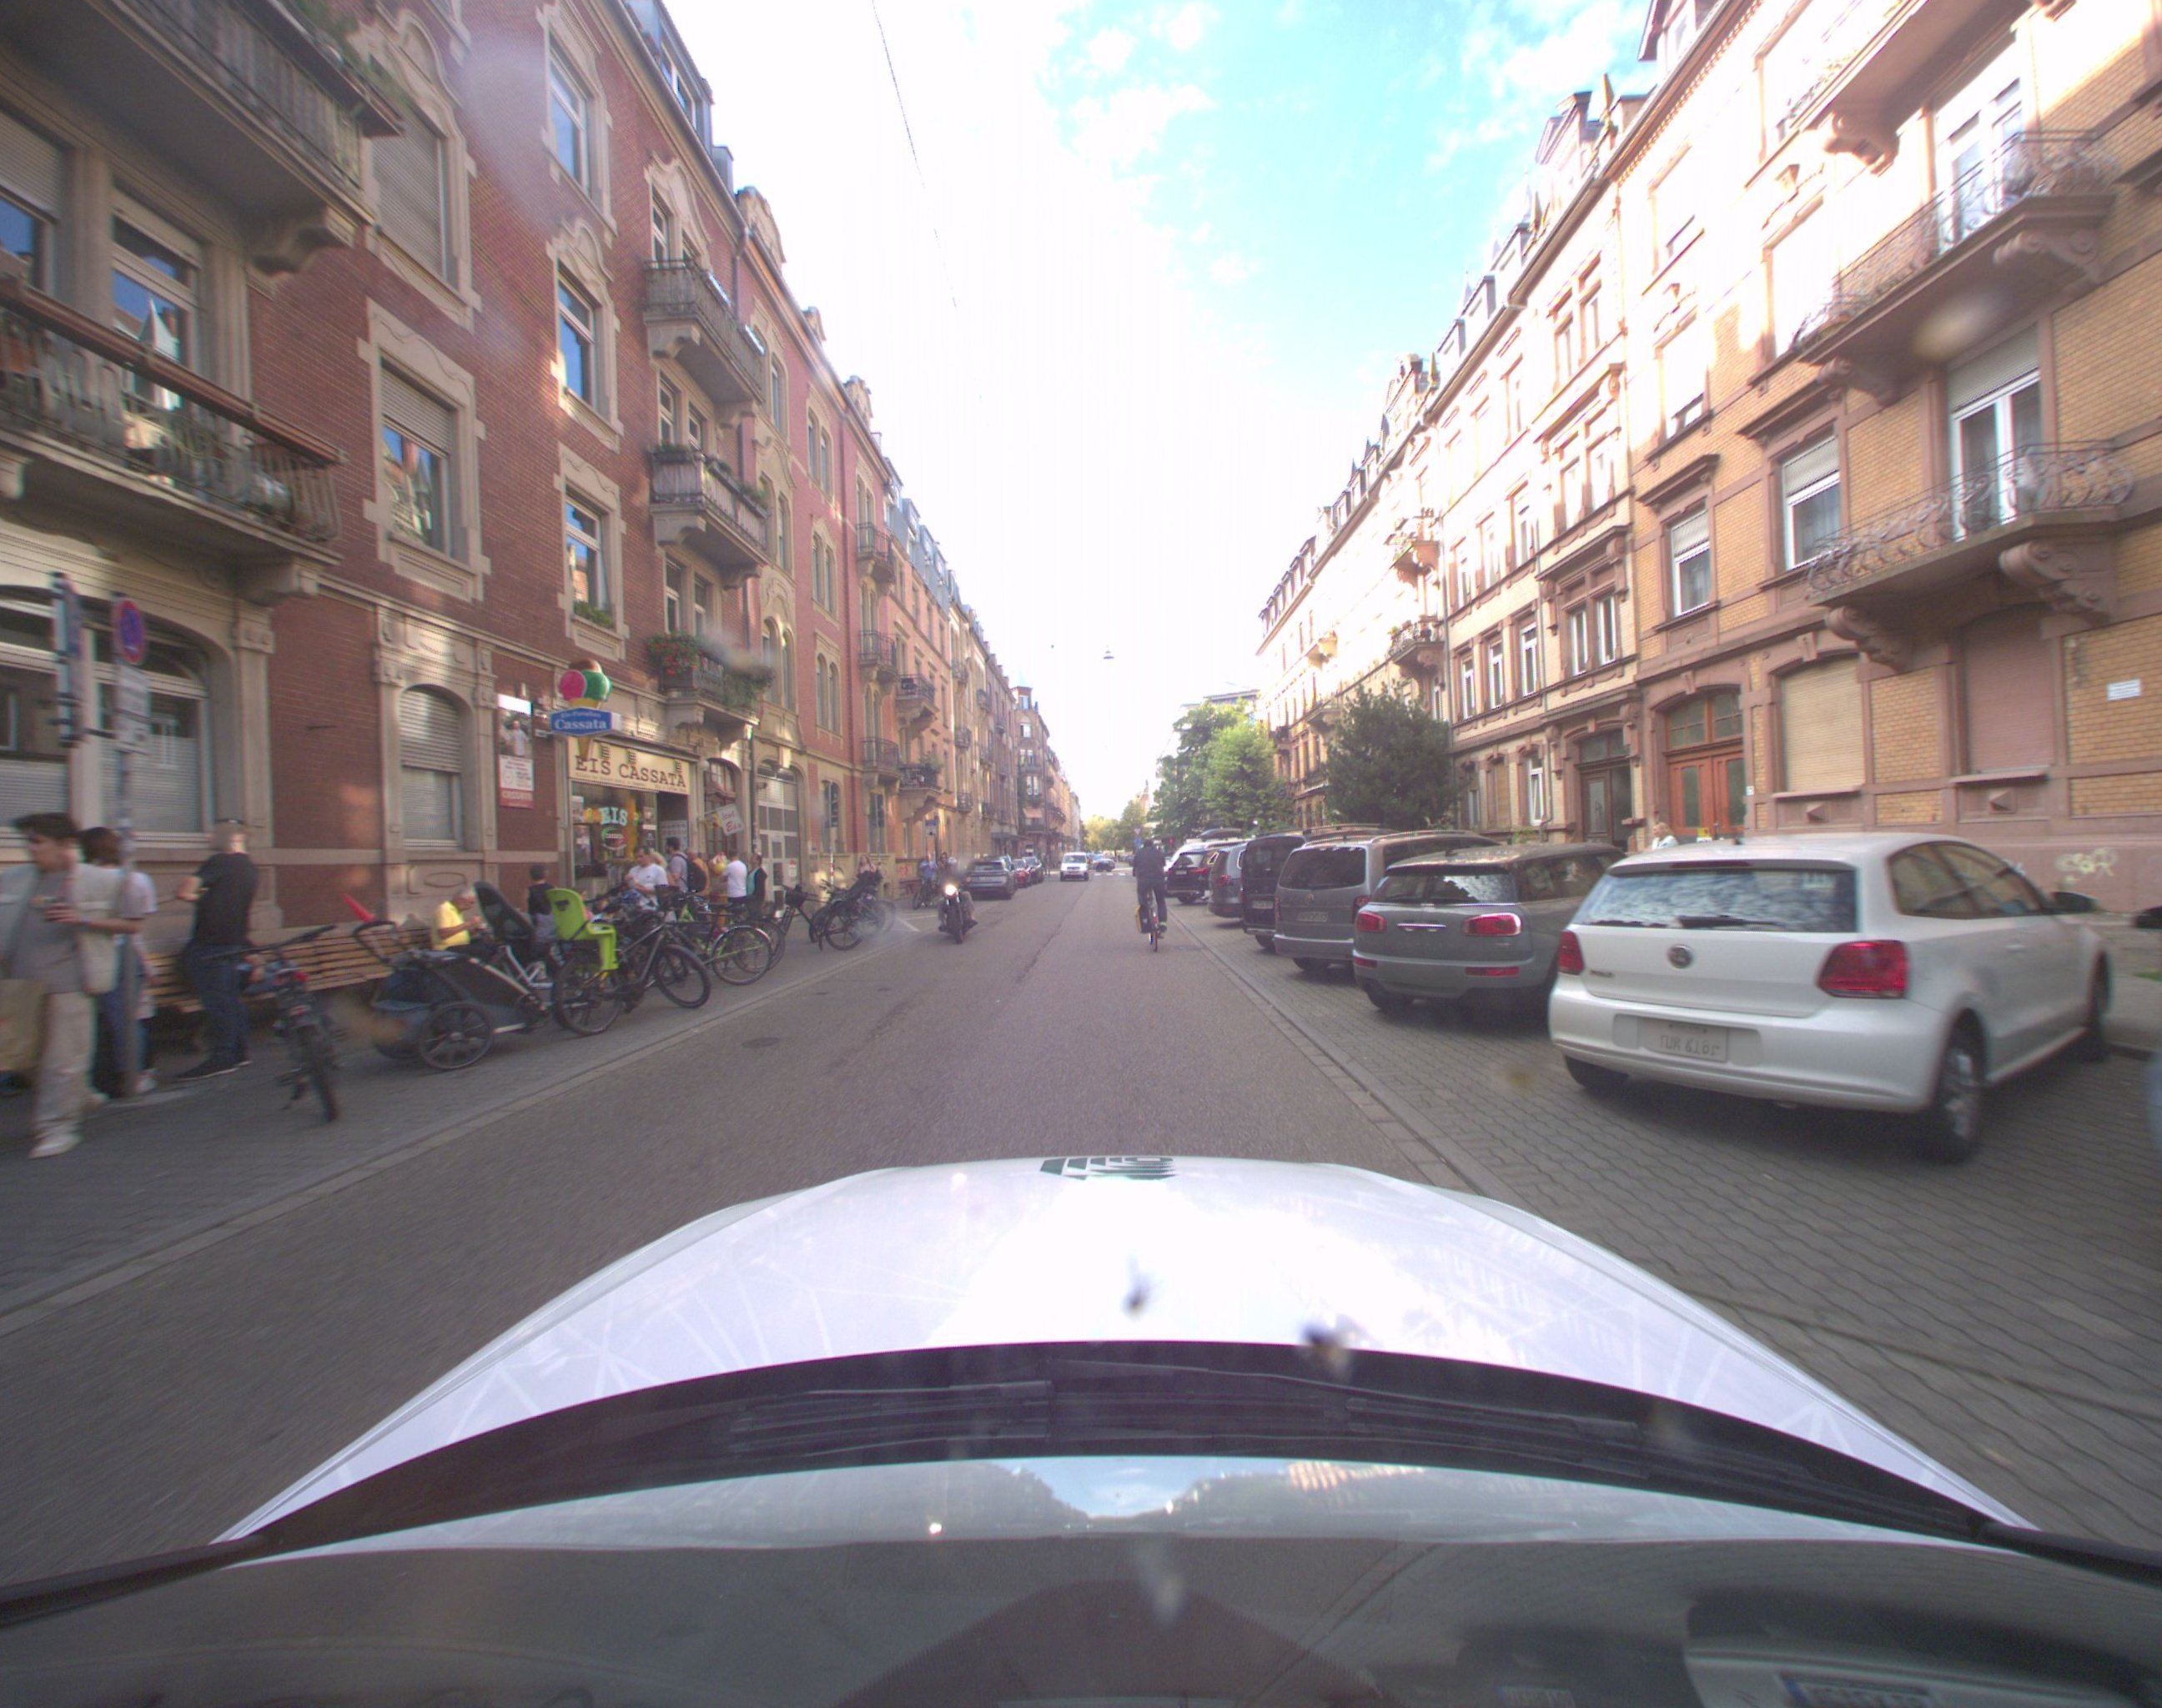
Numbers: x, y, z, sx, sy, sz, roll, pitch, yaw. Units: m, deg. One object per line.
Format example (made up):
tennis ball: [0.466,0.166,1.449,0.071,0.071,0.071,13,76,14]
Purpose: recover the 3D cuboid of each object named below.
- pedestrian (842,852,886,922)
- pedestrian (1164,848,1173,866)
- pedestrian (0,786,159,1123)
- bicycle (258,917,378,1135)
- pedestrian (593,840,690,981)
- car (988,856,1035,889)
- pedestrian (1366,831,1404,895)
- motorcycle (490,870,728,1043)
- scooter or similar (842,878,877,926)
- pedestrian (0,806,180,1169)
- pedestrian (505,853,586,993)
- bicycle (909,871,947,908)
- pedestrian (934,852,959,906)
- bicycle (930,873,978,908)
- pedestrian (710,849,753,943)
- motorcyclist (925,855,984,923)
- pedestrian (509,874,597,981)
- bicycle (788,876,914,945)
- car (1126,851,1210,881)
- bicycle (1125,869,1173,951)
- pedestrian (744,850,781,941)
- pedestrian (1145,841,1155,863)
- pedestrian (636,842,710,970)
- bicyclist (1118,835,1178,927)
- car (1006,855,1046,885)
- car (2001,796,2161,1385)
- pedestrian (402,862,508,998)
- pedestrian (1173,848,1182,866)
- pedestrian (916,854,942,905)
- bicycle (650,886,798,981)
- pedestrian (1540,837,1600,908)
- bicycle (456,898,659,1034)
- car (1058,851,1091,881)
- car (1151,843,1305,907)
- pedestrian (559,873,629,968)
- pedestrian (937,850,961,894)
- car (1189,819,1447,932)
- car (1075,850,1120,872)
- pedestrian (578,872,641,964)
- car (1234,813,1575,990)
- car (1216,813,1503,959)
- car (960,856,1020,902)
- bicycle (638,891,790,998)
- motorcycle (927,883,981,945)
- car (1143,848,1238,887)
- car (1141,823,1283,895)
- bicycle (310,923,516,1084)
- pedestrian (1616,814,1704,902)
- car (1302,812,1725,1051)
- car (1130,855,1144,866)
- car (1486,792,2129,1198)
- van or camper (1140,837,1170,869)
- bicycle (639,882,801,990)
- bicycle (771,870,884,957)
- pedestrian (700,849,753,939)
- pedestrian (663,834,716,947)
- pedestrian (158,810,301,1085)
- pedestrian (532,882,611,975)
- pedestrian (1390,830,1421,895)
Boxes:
pedestrian: [-5.262,0.787,19.795,0.910,1.661,0.826,-1,0,-7]
pedestrian: [9.269,0.330,86.609,0.864,1.851,0.613,-2,0,7]
pedestrian: [-6.575,0.601,5.294,0.637,2.014,0.634,-2,-1,30]
bicycle: [-4.844,0.999,5.143,1.561,1.117,0.376,-1,-1,40]
pedestrian: [-5.708,0.707,10.614,0.600,1.751,0.949,-1,-1,14]
car: [-3.588,0.942,42.775,1.986,1.545,4.427,-2,-1,1]
pedestrian: [8.196,0.232,21.952,0.652,1.695,0.691,0,-1,-42]
motorcycle: [-4.392,0.872,7.796,0.702,1.384,2.032,-1,0,16]
scooter or similar: [-5.161,1.103,19.006,0.604,1.055,0.921,-1,0,-3]
pedestrian: [-5.604,0.672,4.524,0.753,1.818,0.670,-1,-1,31]
pedestrian: [-6.399,0.803,9.755,0.551,1.616,0.584,-1,0,2]
bicycle: [-4.758,1.076,25.367,0.490,1.095,1.910,0,-1,11]
pedestrian: [-4.375,0.794,26.441,0.568,1.709,0.661,0,-1,-33]
bicycle: [-3.992,1.130,25.669,0.477,1.059,1.915,0,-1,26]
pedestrian: [-6.496,0.759,15.139,0.667,1.696,0.580,0,-1,-29]
motorcyclist: [-2.404,0.650,15.567,1.011,1.245,0.802,-1,-1,-4]
pedestrian: [-6.771,0.926,10.472,0.721,1.313,0.606,-1,-1,-2]
bicycle: [-4.353,1.028,15.585,0.798,1.159,2.284,-1,0,39]
car: [5.370,0.709,50.462,4.779,1.456,2.039,-4,1,-27]
bicycle: [1.087,0.869,13.503,0.663,1.178,2.498,-1,0,2]
pedestrian: [-6.116,0.772,15.647,0.567,1.696,0.641,0,-1,-29]
pedestrian: [5.720,-0.161,67.541,0.624,1.739,0.778,-2,0,14]
pedestrian: [-5.779,0.717,11.559,0.600,1.751,0.728,-1,-1,12]
bicyclist: [1.106,0.439,13.572,0.930,1.484,0.747,-1,-1,1]
car: [-3.202,0.924,48.242,1.784,1.628,4.849,-2,-1,2]
car: [4.778,0.474,2.608,4.017,1.461,1.867,-4,-1,-34]
pedestrian: [-7.115,0.838,9.280,0.600,1.470,0.728,-1,-1,12]
pedestrian: [10.229,0.288,86.418,0.864,1.851,0.613,-2,0,7]
pedestrian: [-4.958,0.823,26.585,0.683,1.661,0.546,-1,-1,-28]
bicycle: [-4.758,1.028,10.909,1.745,1.120,0.549,-1,0,-35]
pedestrian: [8.901,0.334,14.846,0.598,1.219,0.674,-5,0,1]
bicycle: [-5.064,1.029,8.028,0.574,1.090,1.745,-1,0,15]
car: [-0.358,0.765,53.492,1.910,1.828,4.440,-1,0,2]
car: [4.500,0.570,24.762,4.475,1.732,1.979,-1,0,-33]
pedestrian: [-6.976,0.937,11.674,0.715,1.313,0.439,-1,-1,-3]
pedestrian: [-5.558,0.760,34.310,0.752,1.808,0.864,-1,0,5]
car: [4.656,0.381,16.489,4.621,1.784,1.810,-5,2,0]
car: [1.506,0.649,73.809,3.973,1.882,2.000,-1,0,0]
pedestrian: [-6.991,0.941,12.086,0.699,1.313,0.372,-1,-1,-3]
car: [4.120,0.475,10.271,4.012,1.741,1.822,-3,0,-29]
car: [4.463,0.412,12.875,4.418,1.822,1.738,-4,-1,-30]
car: [-3.401,0.887,31.370,1.820,1.578,5.260,-1,0,-2]
bicycle: [-4.350,1.032,9.696,1.577,1.120,0.584,-1,0,-35]
motorcycle: [-2.368,1.085,15.451,0.792,0.995,2.495,-1,0,-5]
car: [5.308,0.634,39.131,4.491,1.477,1.868,-6,2,-38]
car: [4.974,0.143,30.608,5.178,2.405,1.899,-3,0,-32]
bicycle: [-4.928,1.049,5.988,1.667,1.030,0.411,-1,-1,22]
pedestrian: [10.459,0.073,14.736,0.926,1.497,0.811,-3,0,-5]
car: [4.177,0.518,7.652,4.018,1.548,1.848,-5,0,-36]
car: [7.356,0.848,106.735,1.638,1.324,3.580,-5,0,3]
car: [4.551,0.521,4.980,4.014,1.450,1.719,-5,-1,-31]
van or camper: [7.500,-0.093,82.984,2.523,3.037,4.458,-2,0,0]
bicycle: [-4.546,0.985,10.316,1.798,1.200,0.584,-1,0,-35]
bicycle: [-4.158,0.939,13.423,1.684,1.322,0.522,-1,0,-34]
pedestrian: [-6.906,0.759,15.888,0.661,1.696,0.764,-1,0,2]
pedestrian: [-6.620,0.592,13.760,0.765,1.854,0.659,0,-1,-29]
pedestrian: [-6.295,0.647,6.028,0.640,1.892,0.605,-1,-1,31]
pedestrian: [-6.960,1.001,11.152,0.706,1.196,0.585,-1,-1,-2]
pedestrian: [8.490,0.228,21.323,0.571,1.659,0.633,-1,0,2]
